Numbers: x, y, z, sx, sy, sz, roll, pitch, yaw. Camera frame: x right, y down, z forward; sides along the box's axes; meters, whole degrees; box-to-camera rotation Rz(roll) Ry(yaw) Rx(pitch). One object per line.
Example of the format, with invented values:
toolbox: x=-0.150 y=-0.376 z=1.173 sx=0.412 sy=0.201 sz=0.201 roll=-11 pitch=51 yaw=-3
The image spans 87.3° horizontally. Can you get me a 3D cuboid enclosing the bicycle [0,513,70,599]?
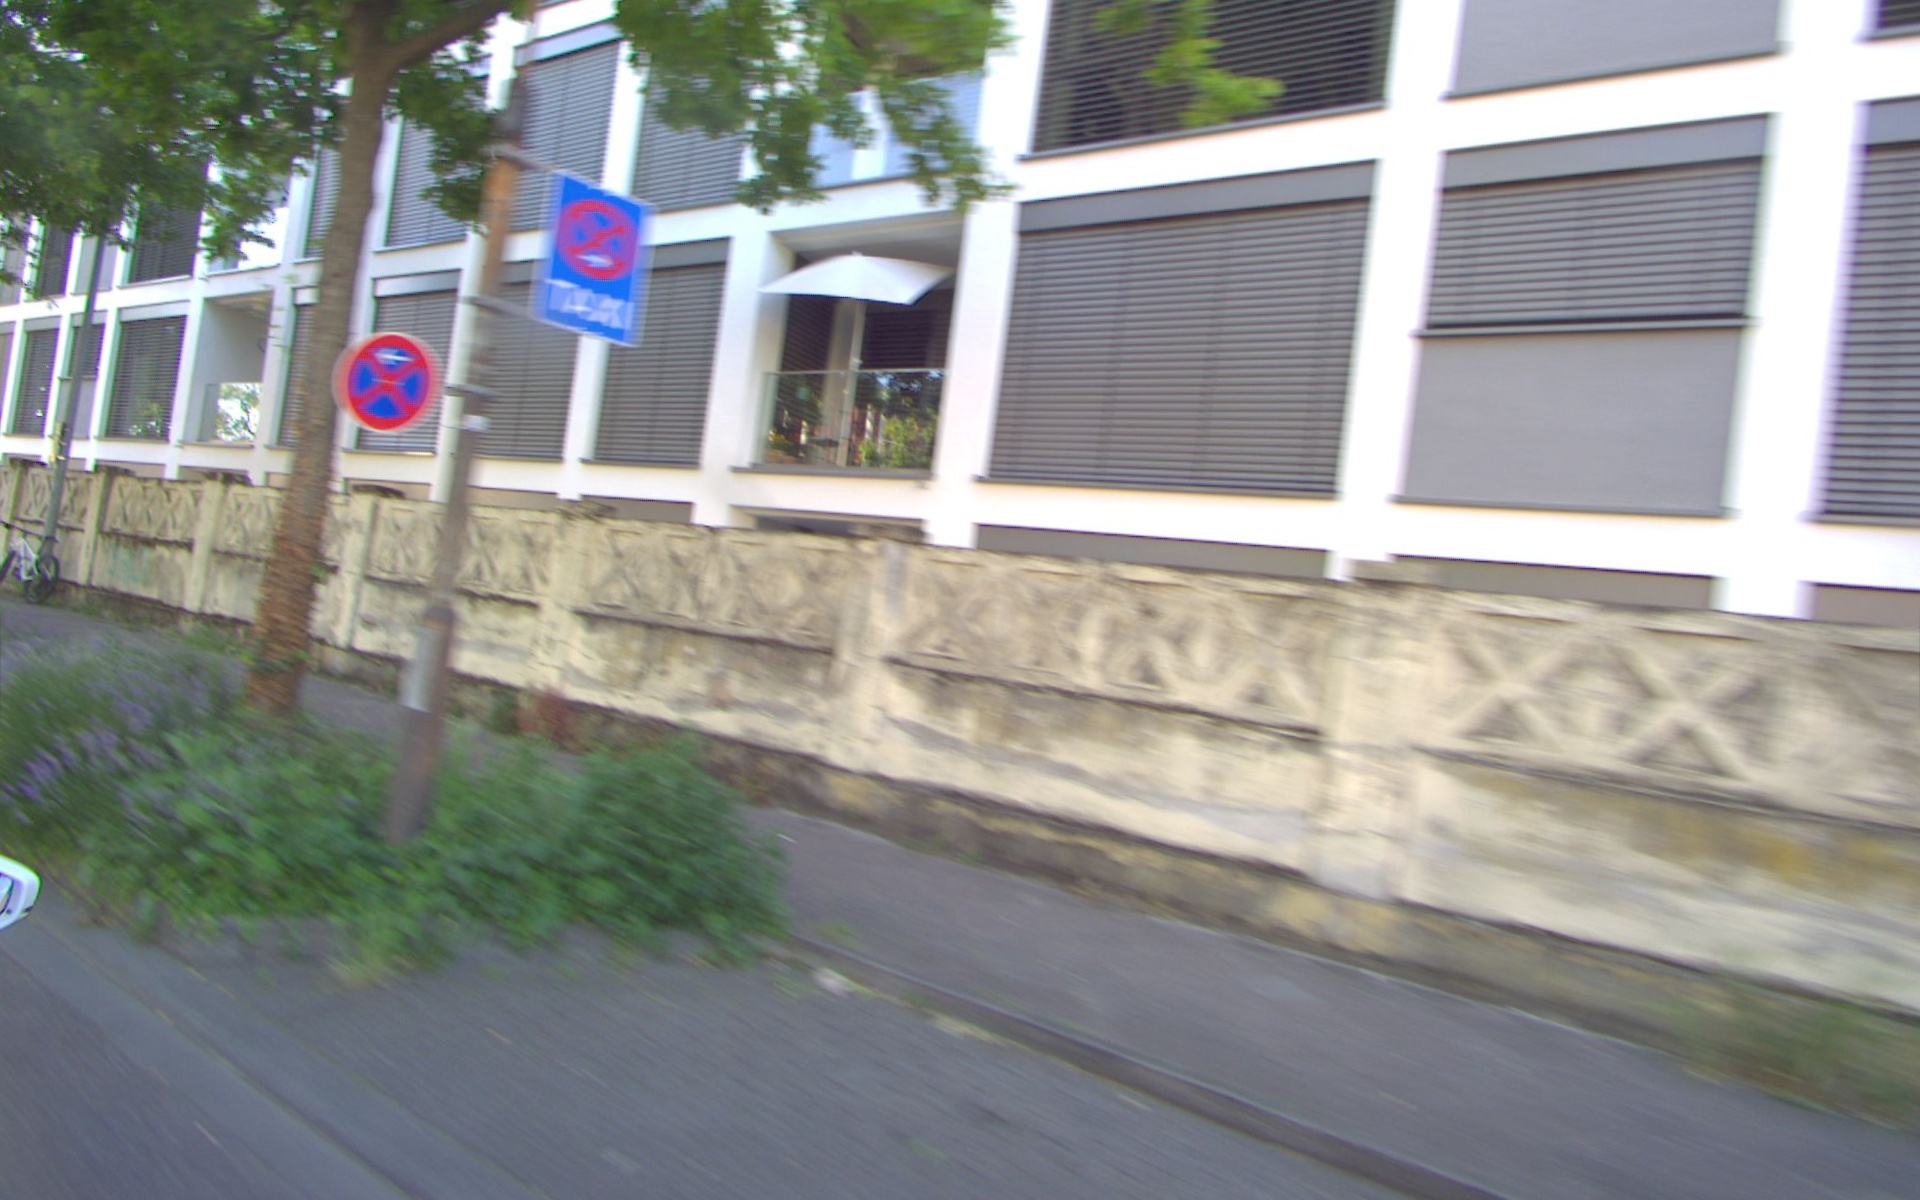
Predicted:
bicycle: x=-13.136 y=-0.641 z=14.108 sx=1.800 sy=1.052 sz=0.337 roll=7 pitch=-2 yaw=31
